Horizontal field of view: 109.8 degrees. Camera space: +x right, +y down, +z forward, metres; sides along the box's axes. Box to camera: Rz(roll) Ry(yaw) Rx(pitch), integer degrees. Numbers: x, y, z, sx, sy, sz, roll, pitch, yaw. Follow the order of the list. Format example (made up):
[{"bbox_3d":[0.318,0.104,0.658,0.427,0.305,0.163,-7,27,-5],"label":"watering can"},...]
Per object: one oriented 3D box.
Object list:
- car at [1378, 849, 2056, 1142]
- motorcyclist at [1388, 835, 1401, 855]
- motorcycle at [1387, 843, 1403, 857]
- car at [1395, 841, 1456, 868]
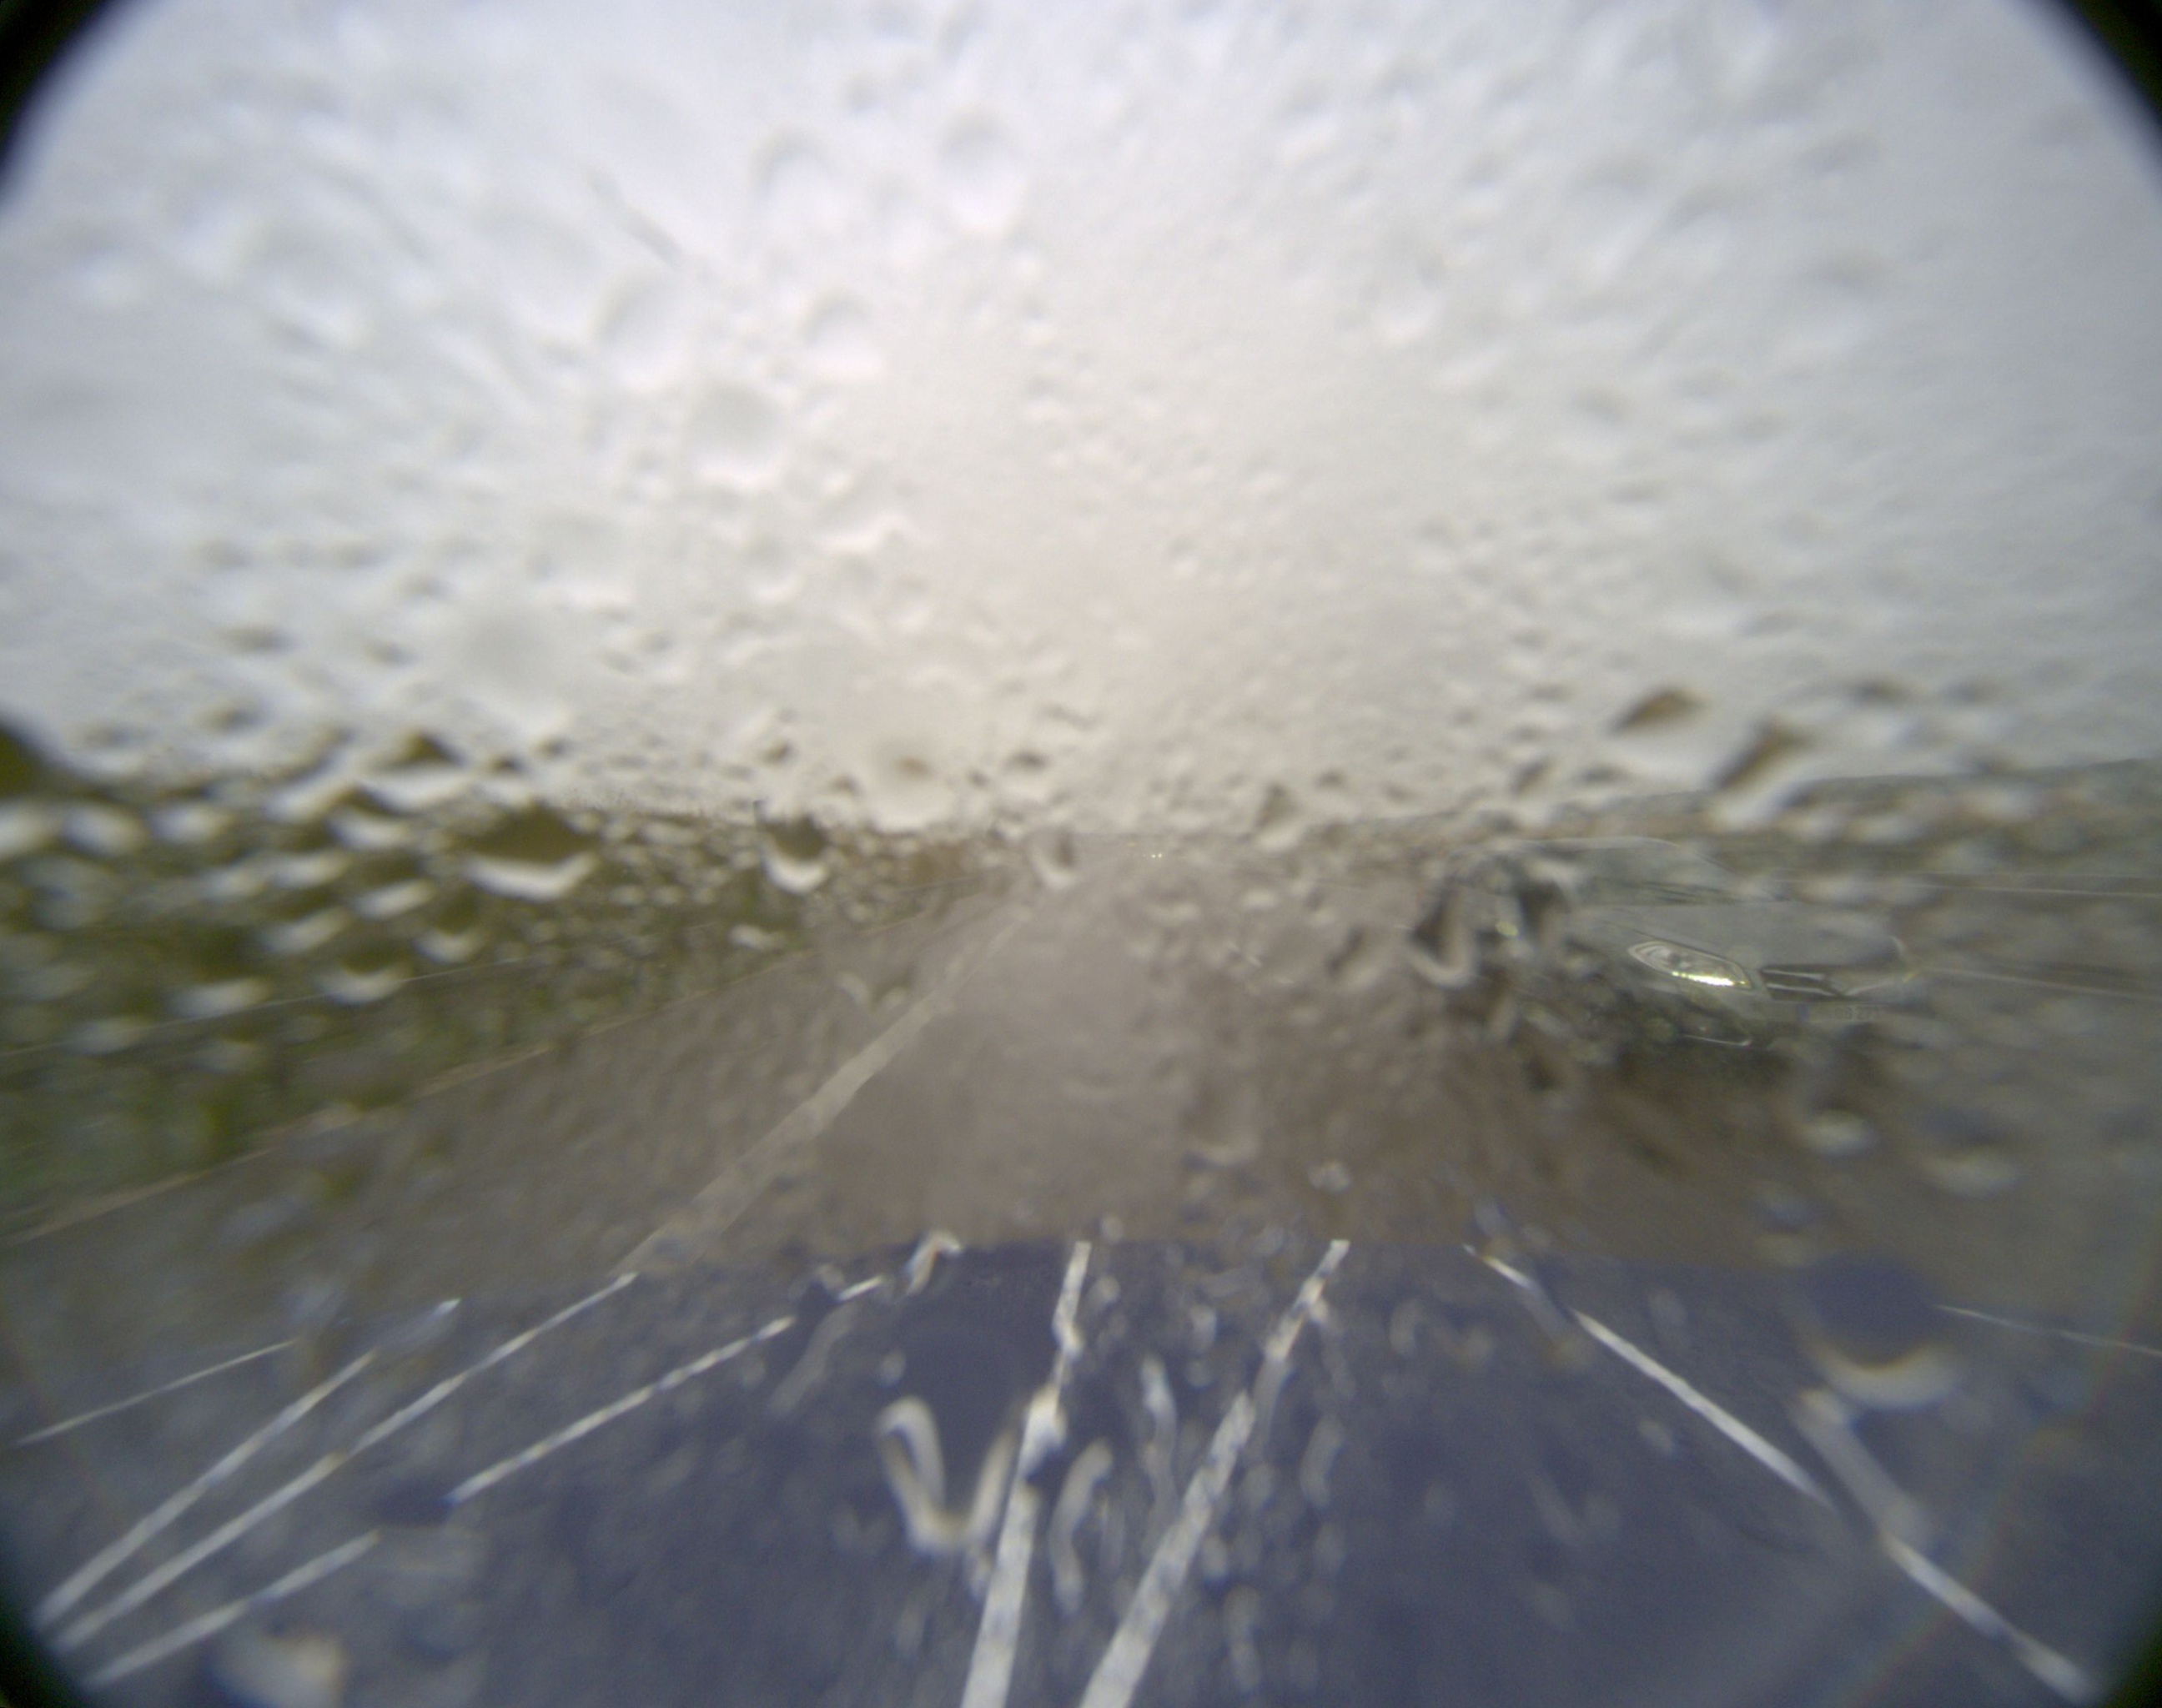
[{"bbox_3d":[4.388,0.758,6.507,1.851,1.504,4.756,-2,1,1],"label":"car"},{"bbox_3d":[24.946,-0.727,60.436,0.676,1.557,0.840,-2,1,0],"label":"motorcyclist"},{"bbox_3d":[24.966,-0.307,60.465,0.639,1.057,1.600,-2,1,1],"label":"motorcycle"},{"bbox_3d":[21.058,0.005,46.619,1.998,1.543,4.000,-2,0,2],"label":"car"}]
